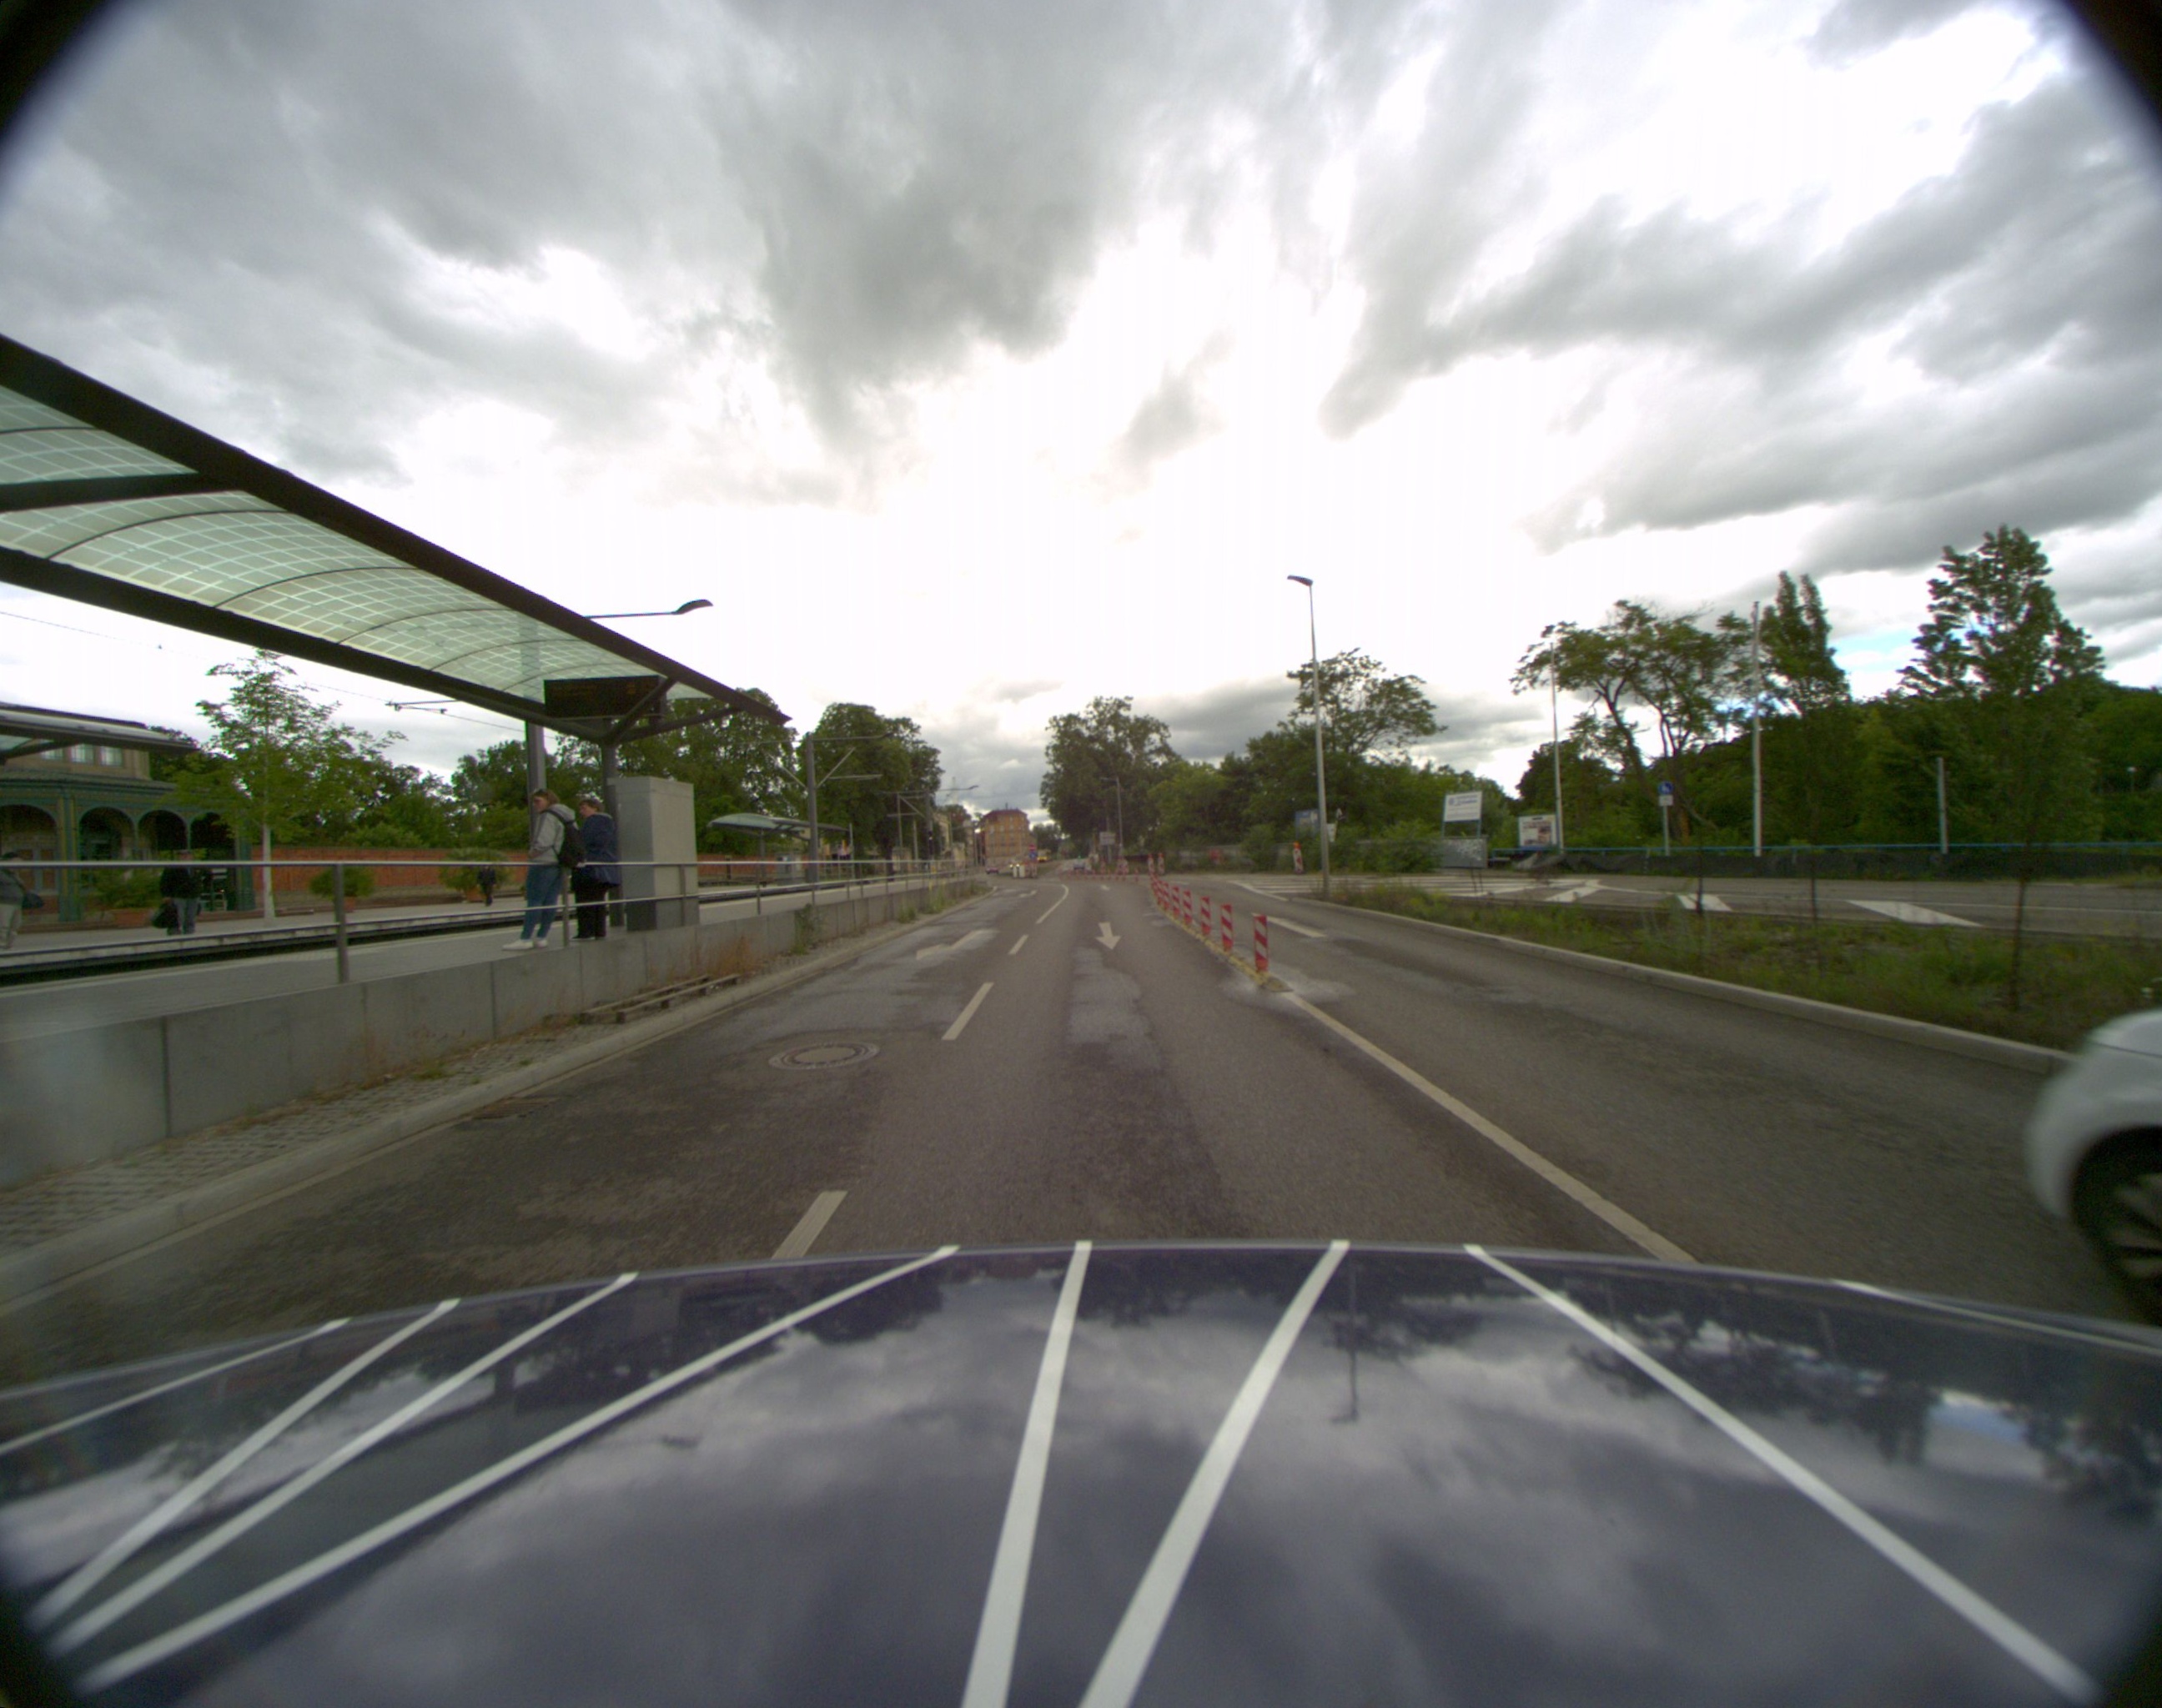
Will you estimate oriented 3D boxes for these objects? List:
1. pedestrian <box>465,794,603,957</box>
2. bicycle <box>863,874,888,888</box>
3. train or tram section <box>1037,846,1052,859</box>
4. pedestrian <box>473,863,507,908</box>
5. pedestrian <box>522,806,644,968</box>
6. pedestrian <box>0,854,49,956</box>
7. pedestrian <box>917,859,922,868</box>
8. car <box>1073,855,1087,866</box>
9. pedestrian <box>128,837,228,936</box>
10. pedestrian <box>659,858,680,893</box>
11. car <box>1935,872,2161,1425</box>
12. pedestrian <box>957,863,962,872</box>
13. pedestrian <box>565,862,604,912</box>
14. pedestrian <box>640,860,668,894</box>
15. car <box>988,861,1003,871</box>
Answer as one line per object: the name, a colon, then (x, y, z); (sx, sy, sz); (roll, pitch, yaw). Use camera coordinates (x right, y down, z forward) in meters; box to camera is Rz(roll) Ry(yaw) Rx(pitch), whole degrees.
pedestrian: (-5.607, 0.221, 7.832); (0.752, 1.544, 0.775); (-5, -1, 2)
bicycle: (-18.898, 2.447, 69.813); (1.995, 1.151, 0.741); (-3, 0, 5)
train or tram section: (-10.361, -0.490, 218.591); (3.739, 3.346, 17.552); (-2, 1, -1)
pedestrian: (-24.713, 1.292, 31.774); (0.549, 1.827, 0.952); (-5, 1, -6)
pedestrian: (-5.608, 0.369, 8.604); (0.772, 1.689, 0.732); (-5, -1, 2)
pedestrian: (-17.263, 0.820, 12.111); (0.525, 1.610, 0.676); (-5, 1, 2)
pedestrian: (-32.183, 1.871, 151.340); (0.596, 1.782, 0.808); (-3, 0, 0)
car: (-0.155, 1.067, 128.830); (1.869, 1.772, 4.747); (-4, 0, -4)
pedestrian: (-17.737, 0.618, 14.946); (0.634, 1.827, 0.950); (-5, 1, 2)
pedestrian: (-20.111, 1.040, 37.111); (0.487, 1.651, 0.628); (-5, 1, 9)
car: (3.819, 0.829, 0.625); (1.595, 1.508, 4.084); (-3, 0, 0)
pedestrian: (-23.655, 2.624, 147.743); (0.672, 1.757, 0.937); (-3, 0, 0)
pedestrian: (-17.491, 1.150, 26.795); (0.634, 1.677, 0.866); (-5, 1, 0)
pedestrian: (-21.025, 1.145, 37.391); (0.741, 1.591, 0.772); (-5, 1, 9)
car: (-13.141, 1.838, 117.266); (1.681, 1.433, 4.119); (-5, 0, -1)
